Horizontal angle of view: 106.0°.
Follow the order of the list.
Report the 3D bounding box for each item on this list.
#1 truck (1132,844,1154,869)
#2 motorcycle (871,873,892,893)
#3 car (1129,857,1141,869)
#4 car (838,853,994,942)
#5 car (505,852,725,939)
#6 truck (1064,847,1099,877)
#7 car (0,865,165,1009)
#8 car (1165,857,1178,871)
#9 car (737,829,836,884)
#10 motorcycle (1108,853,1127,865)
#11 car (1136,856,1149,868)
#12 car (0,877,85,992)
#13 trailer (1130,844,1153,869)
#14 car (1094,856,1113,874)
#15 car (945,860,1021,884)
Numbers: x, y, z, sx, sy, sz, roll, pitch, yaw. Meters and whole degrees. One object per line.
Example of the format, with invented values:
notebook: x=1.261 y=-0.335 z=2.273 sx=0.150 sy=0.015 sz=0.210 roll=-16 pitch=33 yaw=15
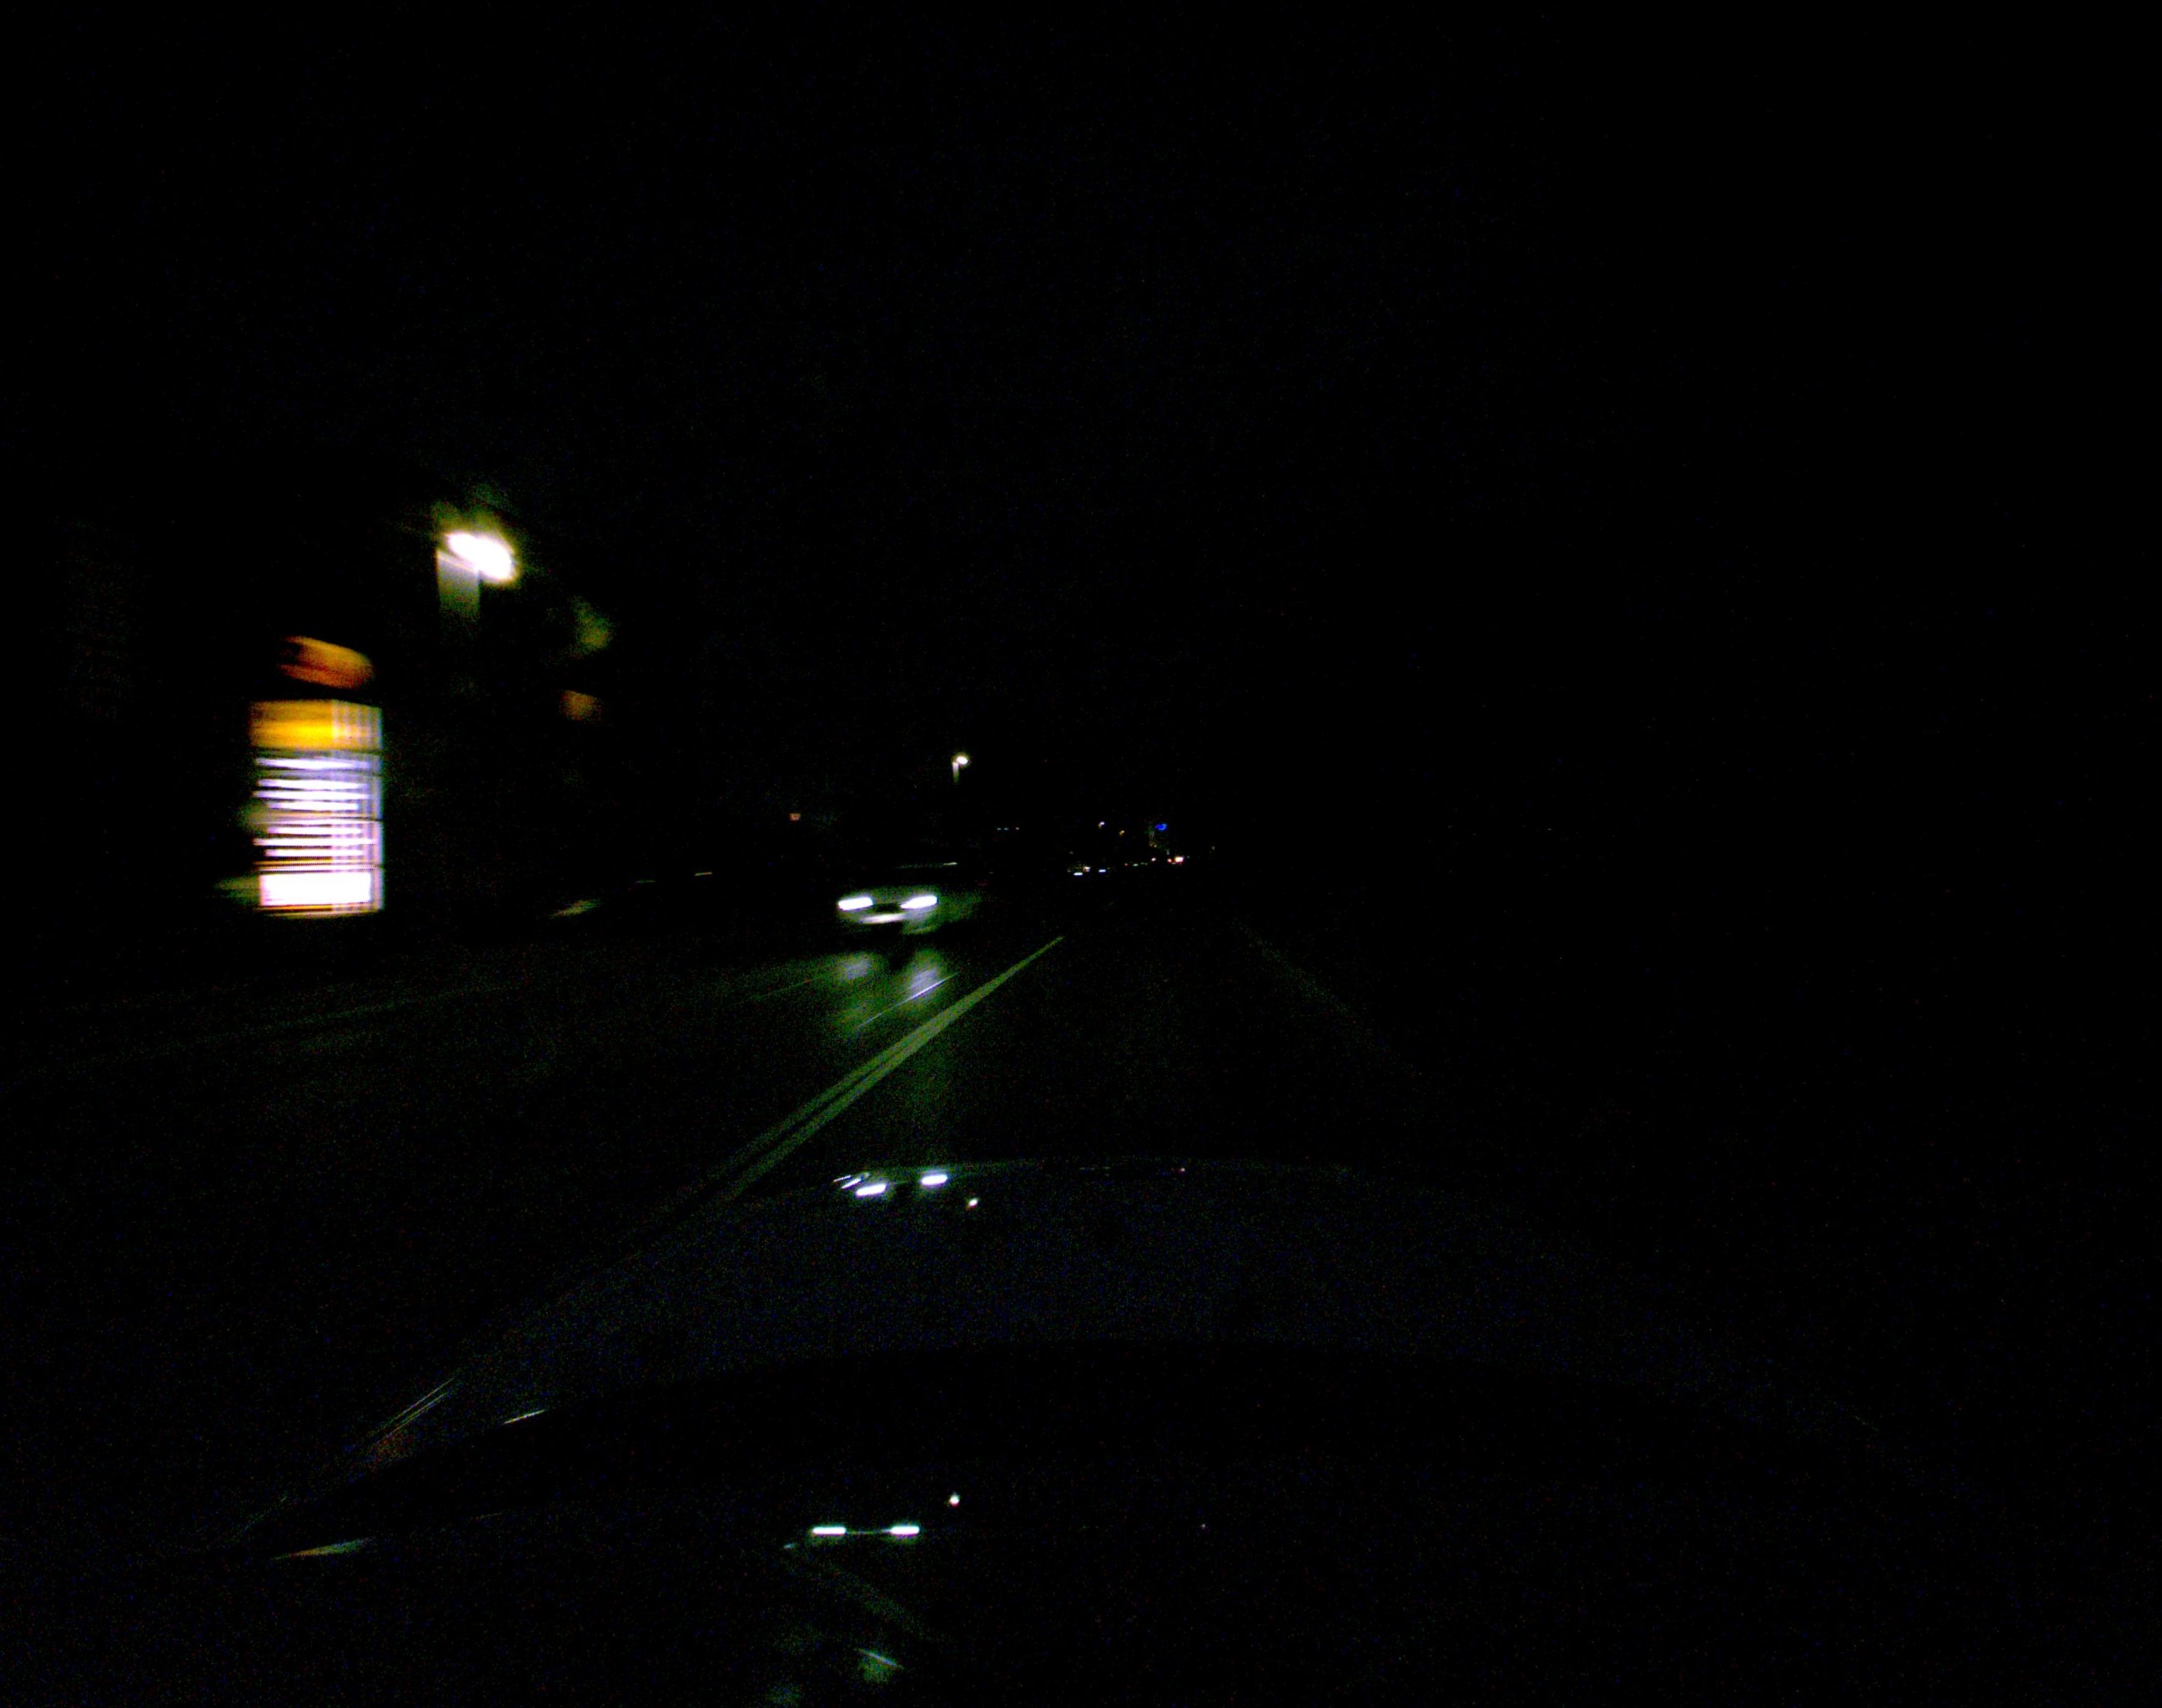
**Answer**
truck: x=12.672 y=0.528 z=166.999 sx=3.829 sy=4.890 sz=6.352 roll=1 pitch=1 yaw=-1
motorcycle: x=-12.422 y=1.790 z=50.756 sx=0.983 sy=1.144 sz=1.846 roll=0 pitch=-1 yaw=-3
car: x=8.508 y=1.404 z=128.959 sx=1.718 sy=1.739 sz=3.809 roll=-2 pitch=-1 yaw=2
car: x=-3.356 y=0.824 z=17.514 sx=1.745 sy=1.607 sz=4.464 roll=-2 pitch=0 yaw=9
car: x=-9.637 y=0.782 z=17.344 sx=1.746 sy=1.607 sz=4.460 roll=0 pitch=0 yaw=7
truck: x=0.122 y=0.600 z=61.867 sx=2.239 sy=2.129 sz=5.984 roll=-2 pitch=-1 yaw=3
car: x=-11.823 y=0.844 z=7.817 sx=1.531 sy=1.420 sz=3.720 roll=0 pitch=0 yaw=24
car: x=15.159 y=1.623 z=136.773 sx=1.984 sy=2.013 sz=4.006 roll=-4 pitch=1 yaw=5
car: x=-11.510 y=0.050 z=32.150 sx=1.983 sy=2.013 sz=4.009 roll=1 pitch=1 yaw=7
motorcycle: x=6.335 y=0.918 z=141.909 sx=1.305 sy=2.013 sz=4.026 roll=2 pitch=2 yaw=34
car: x=10.600 y=1.377 z=141.319 sx=1.987 sy=1.897 sz=4.001 roll=-2 pitch=1 yaw=1
car: x=-13.760 y=0.949 z=8.665 sx=1.530 sy=1.311 sz=3.720 roll=0 pitch=0 yaw=24
trailer: x=12.623 y=0.482 z=171.931 sx=3.829 sy=4.890 sz=10.806 roll=1 pitch=1 yaw=-1
car: x=2.131 y=1.011 z=76.145 sx=1.711 sy=1.618 sz=3.840 roll=-2 pitch=0 yaw=2
car: x=-6.013 y=1.116 z=50.268 sx=4.329 sy=1.359 sz=1.644 roll=-2 pitch=-1 yaw=3
